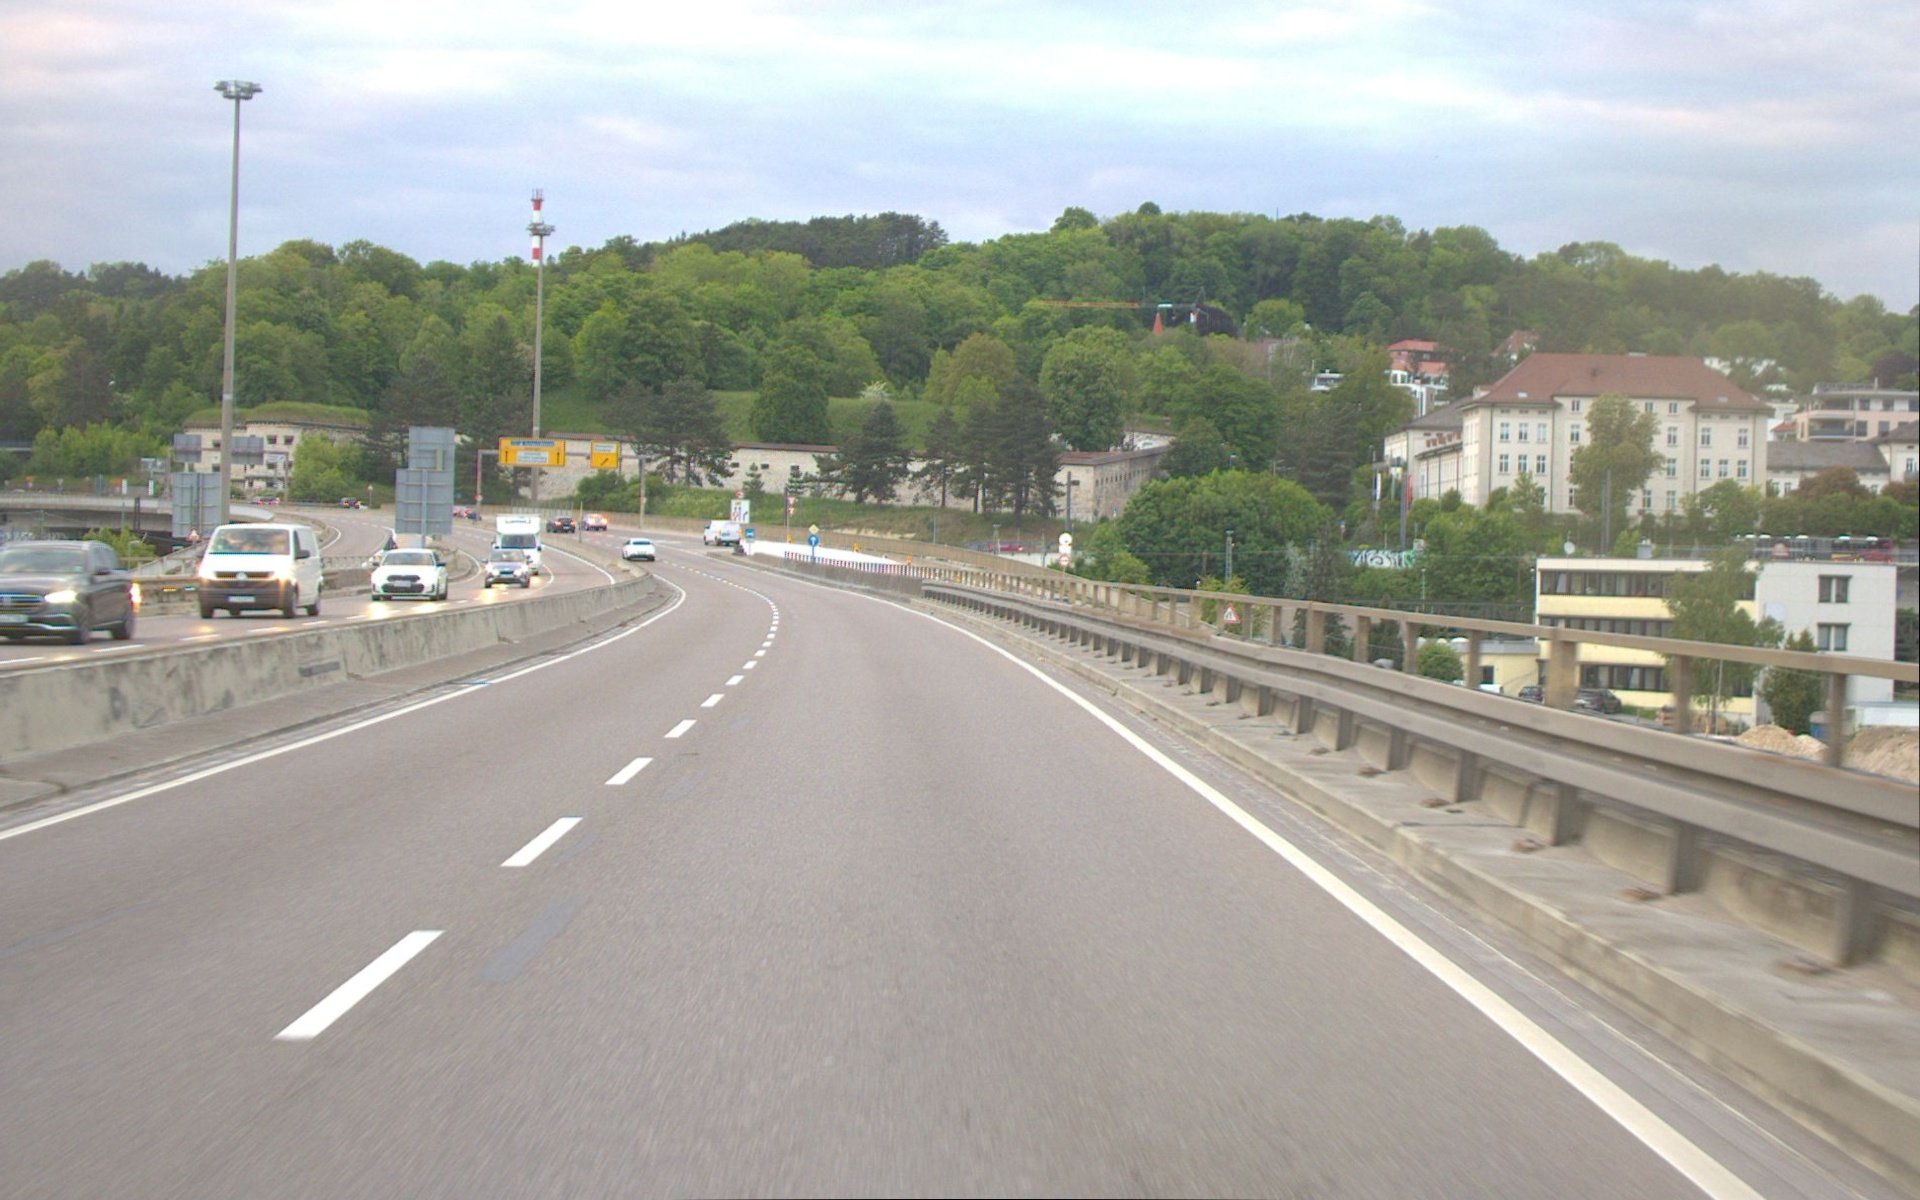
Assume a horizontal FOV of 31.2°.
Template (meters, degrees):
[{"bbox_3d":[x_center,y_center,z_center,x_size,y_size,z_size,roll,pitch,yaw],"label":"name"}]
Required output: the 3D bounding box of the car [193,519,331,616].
[{"bbox_3d":[-14.208,-0.679,70.212,1.901,1.894,5.460,1,1,-2],"label":"car"}]

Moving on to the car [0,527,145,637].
[{"bbox_3d":[-13.213,-0.302,49.885,1.828,1.469,4.902,1,2,-3],"label":"car"}]

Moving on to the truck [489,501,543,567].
[{"bbox_3d":[-22.848,-3.380,177.197,2.534,3.285,7.448,1,1,-6],"label":"truck"}]

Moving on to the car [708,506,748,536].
[{"bbox_3d":[-17.366,-5.922,256.721,1.993,2.006,4.110,1,3,-18],"label":"car"}]

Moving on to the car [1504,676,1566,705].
[{"bbox_3d":[39.081,6.167,233.600,3.987,1.560,1.832,5,2,-38],"label":"car"}]

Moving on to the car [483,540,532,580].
[{"bbox_3d":[-17.316,-1.532,131.646,1.628,1.436,3.837,1,2,-4],"label":"car"}]

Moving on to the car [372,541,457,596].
[{"bbox_3d":[-15.273,-0.887,96.476,1.831,1.498,4.817,0,1,-3],"label":"car"}]

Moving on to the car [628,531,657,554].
[{"bbox_3d":[-20.519,-3.718,222.020,1.630,1.383,4.001,0,2,-9],"label":"car"}]
